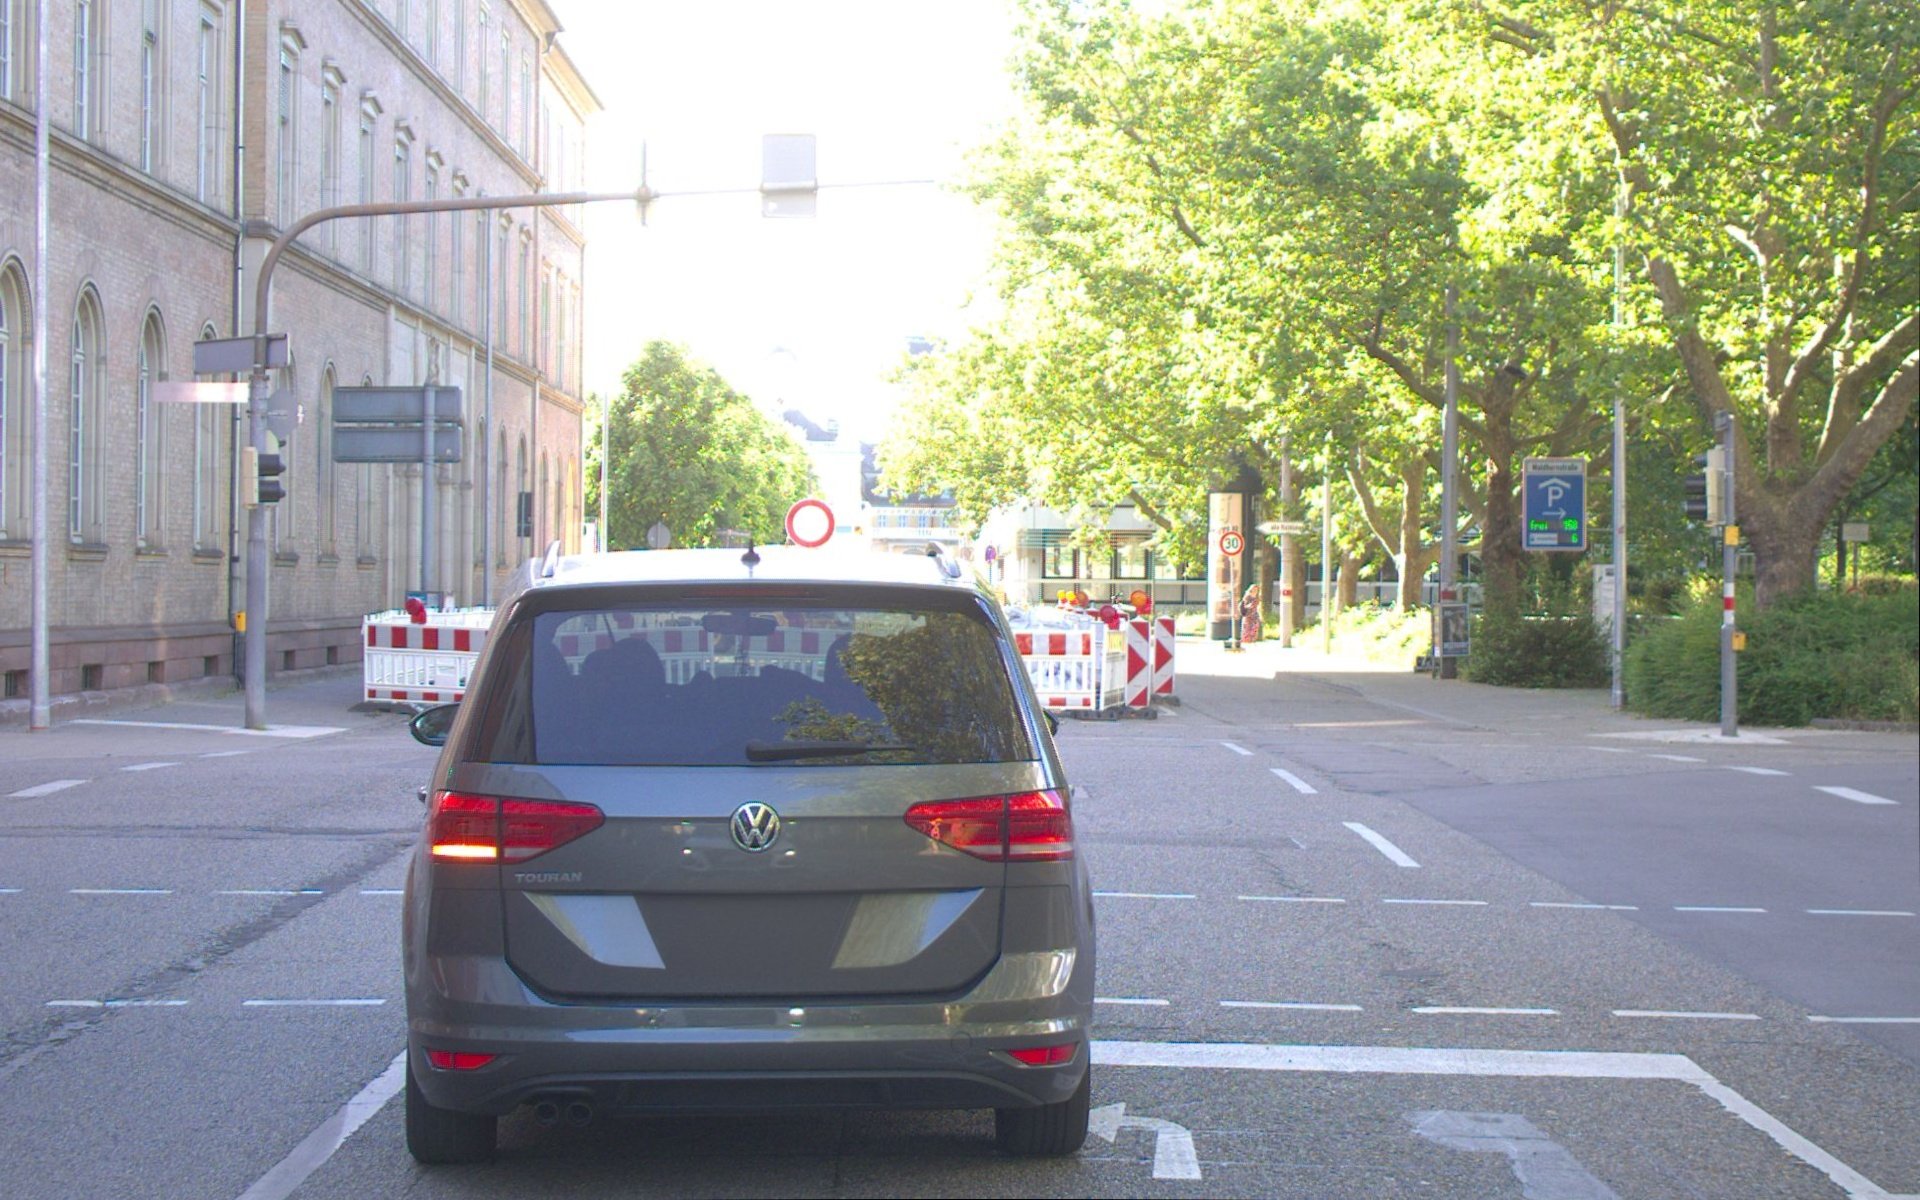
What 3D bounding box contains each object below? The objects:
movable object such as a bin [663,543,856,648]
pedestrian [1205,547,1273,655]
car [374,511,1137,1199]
[{"bbox_3d":[-5.425,-0.136,92.772,4.838,2.767,2.467,1,0,42],"label":"movable object such as a bin"},{"bbox_3d":[6.919,0.022,85.418,1.419,2.658,1.148,1,0,-9],"label":"pedestrian"},{"bbox_3d":[-0.701,0.589,10.004,1.761,1.601,4.001,1,0,-7],"label":"car"}]
